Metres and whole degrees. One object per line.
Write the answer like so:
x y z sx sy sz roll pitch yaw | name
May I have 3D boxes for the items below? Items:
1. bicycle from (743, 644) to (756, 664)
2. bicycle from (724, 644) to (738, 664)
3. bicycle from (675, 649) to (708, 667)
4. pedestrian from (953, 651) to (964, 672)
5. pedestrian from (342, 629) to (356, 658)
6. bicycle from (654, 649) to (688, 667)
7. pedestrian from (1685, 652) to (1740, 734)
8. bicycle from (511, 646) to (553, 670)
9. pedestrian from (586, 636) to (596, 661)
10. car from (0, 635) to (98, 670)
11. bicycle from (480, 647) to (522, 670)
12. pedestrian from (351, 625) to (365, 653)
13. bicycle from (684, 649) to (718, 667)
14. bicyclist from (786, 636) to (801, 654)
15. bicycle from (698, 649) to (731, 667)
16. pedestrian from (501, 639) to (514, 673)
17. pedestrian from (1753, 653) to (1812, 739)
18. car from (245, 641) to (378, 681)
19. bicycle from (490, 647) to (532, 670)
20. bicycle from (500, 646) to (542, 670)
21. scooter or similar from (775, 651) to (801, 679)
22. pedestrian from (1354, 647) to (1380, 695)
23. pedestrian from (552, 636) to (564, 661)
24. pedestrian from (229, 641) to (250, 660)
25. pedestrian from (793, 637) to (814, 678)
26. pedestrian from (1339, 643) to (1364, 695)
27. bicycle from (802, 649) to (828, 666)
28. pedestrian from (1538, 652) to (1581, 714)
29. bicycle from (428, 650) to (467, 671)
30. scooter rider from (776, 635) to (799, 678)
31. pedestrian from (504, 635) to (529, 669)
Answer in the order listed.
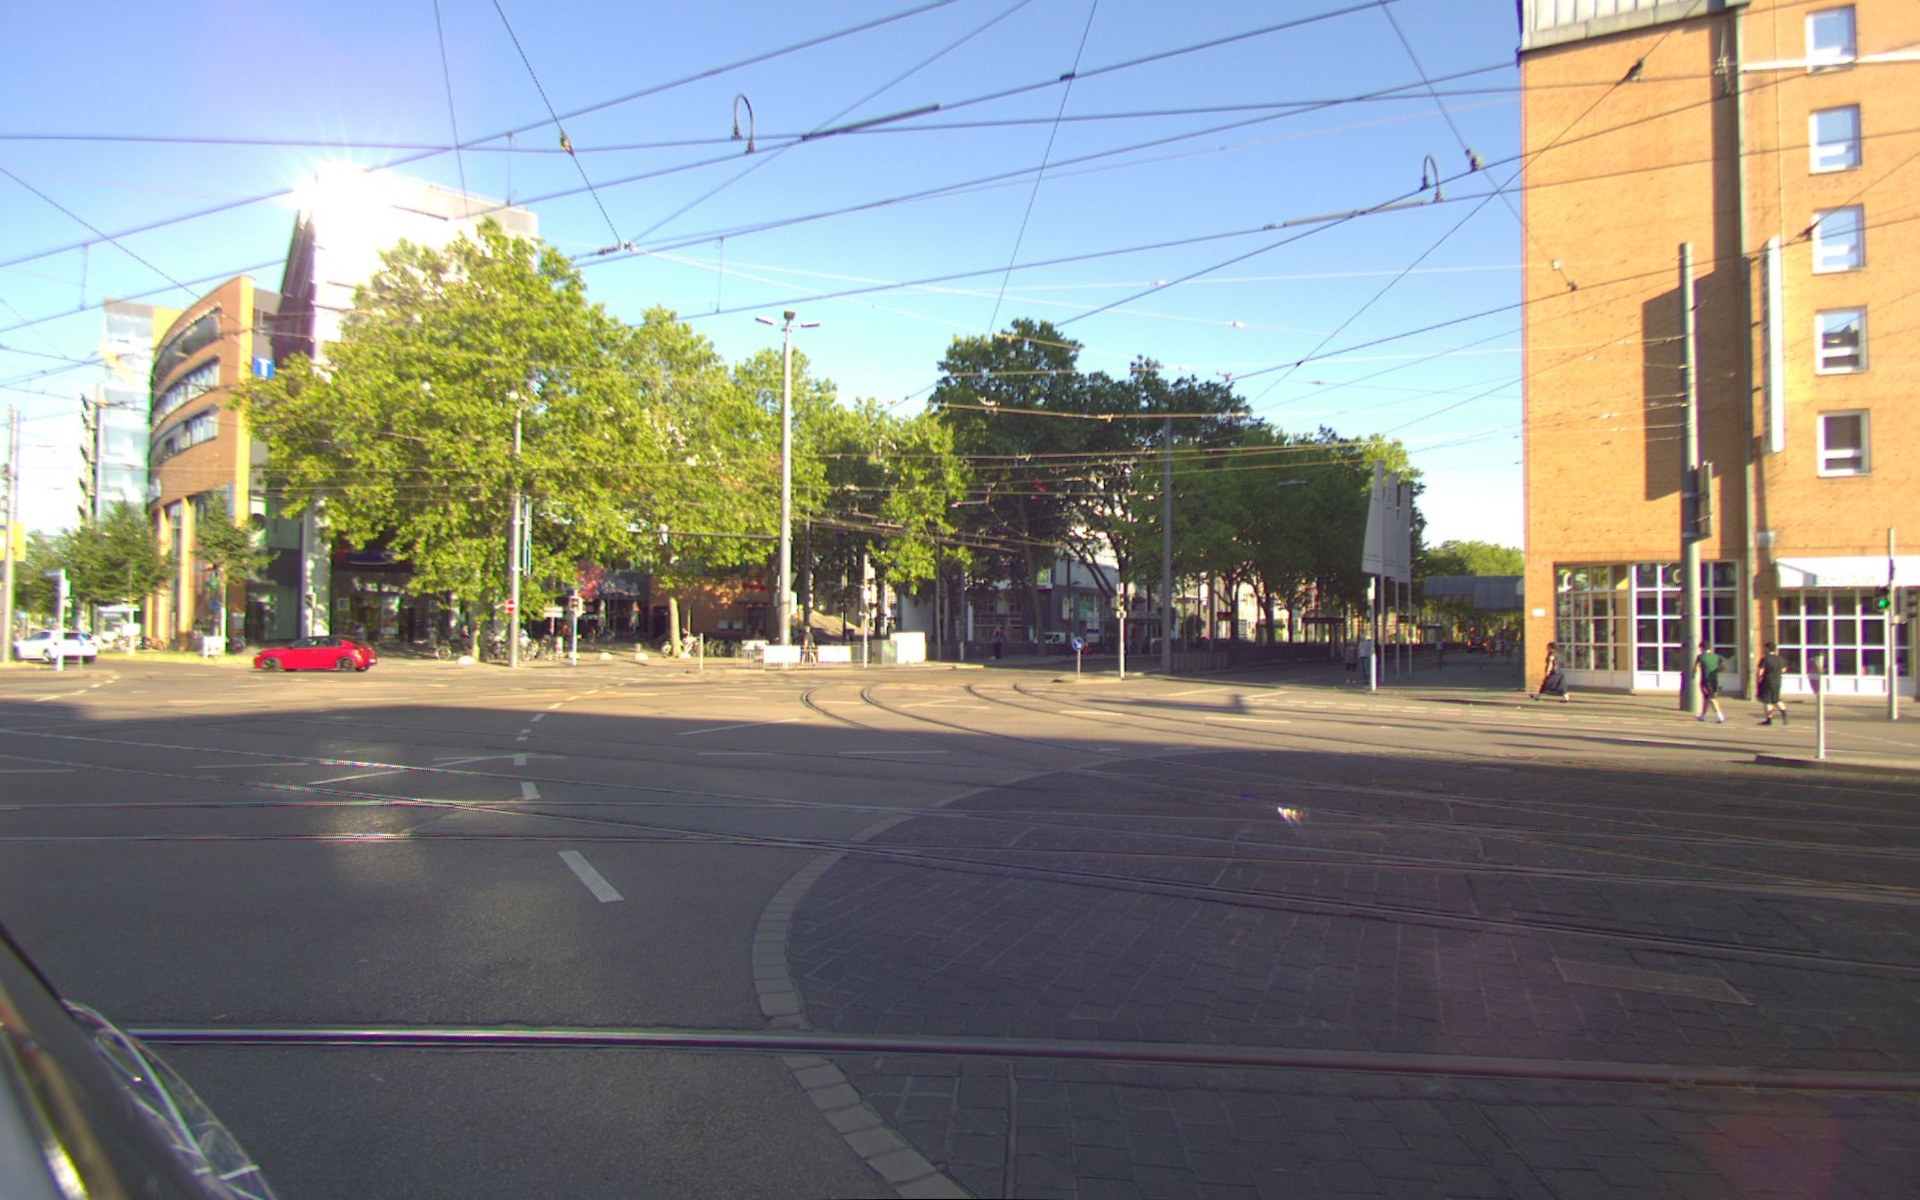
-13.519 3.441 64.831 0.770 1.198 3.566 1 -3 -12 | bicycle
-14.536 3.415 64.267 0.770 1.198 3.566 1 -3 -12 | bicycle
-16.449 3.571 62.102 0.781 1.072 1.924 -1 -3 34 | bicycle
-0.072 3.189 52.398 0.404 1.040 0.375 -1 -3 27 | pedestrian
-36.431 2.594 60.316 0.582 1.769 0.597 2 -3 -25 | pedestrian
-17.777 3.588 62.286 0.781 1.072 1.924 -1 -3 34 | bicycle
16.336 1.996 21.977 0.631 1.731 0.780 3 -4 -37 | pedestrian
-21.394 2.893 50.568 0.772 1.138 1.825 -1 -3 29 | bicycle
-25.629 3.375 70.330 0.534 1.682 0.572 2 -3 -27 | pedestrian
-39.839 2.302 44.257 3.974 1.463 1.623 -1 -3 23 | car
-23.508 2.975 51.858 0.772 1.138 1.825 -1 -3 29 | bicycle
-36.000 2.336 60.517 0.586 1.669 0.594 3 -3 -38 | pedestrian
-15.770 3.543 61.656 0.781 1.072 1.924 -1 -3 34 | bicycle
-12.557 3.368 76.358 0.942 1.355 0.677 2 -3 -29 | bicyclist
-14.853 3.516 61.243 0.781 1.072 1.924 -1 -3 34 | bicycle
-20.799 2.595 46.549 0.476 1.550 0.574 2 -3 -21 | pedestrian
17.157 1.989 21.116 0.631 1.731 0.780 3 -4 -37 | pedestrian
-24.619 2.312 38.580 3.931 1.439 1.697 1 -3 -17 | car
-22.813 2.948 51.427 0.772 1.138 1.825 -1 -3 29 | bicycle
-22.111 2.920 50.993 0.772 1.138 1.825 -1 -3 29 | bicycle
-7.486 2.806 44.043 1.159 1.188 0.449 -1 -3 39 | scooter or similar
15.153 2.621 37.637 0.648 1.756 0.694 -3 -5 45 | pedestrian
-27.237 3.283 68.624 0.562 1.682 0.544 3 -4 -42 | pedestrian
-43.241 3.028 60.731 0.677 1.089 0.771 -1 -3 22 | pedestrian
-6.887 2.525 44.544 0.663 1.810 0.570 3 -4 -44 | pedestrian
14.748 2.595 38.140 0.648 1.910 0.734 -2 -4 45 | pedestrian
-9.777 3.882 68.310 0.577 1.072 1.924 -1 -3 34 | bicycle
15.682 2.157 26.488 0.862 1.565 0.542 -1 -3 20 | pedestrian
-25.754 3.024 50.872 0.547 1.044 1.680 -1 -3 33 | bicycle
-7.507 2.470 44.033 0.762 1.847 0.581 -2 -3 39 | scooter rider
-23.230 2.717 53.023 0.729 1.778 0.883 -3 -5 33 | pedestrian
